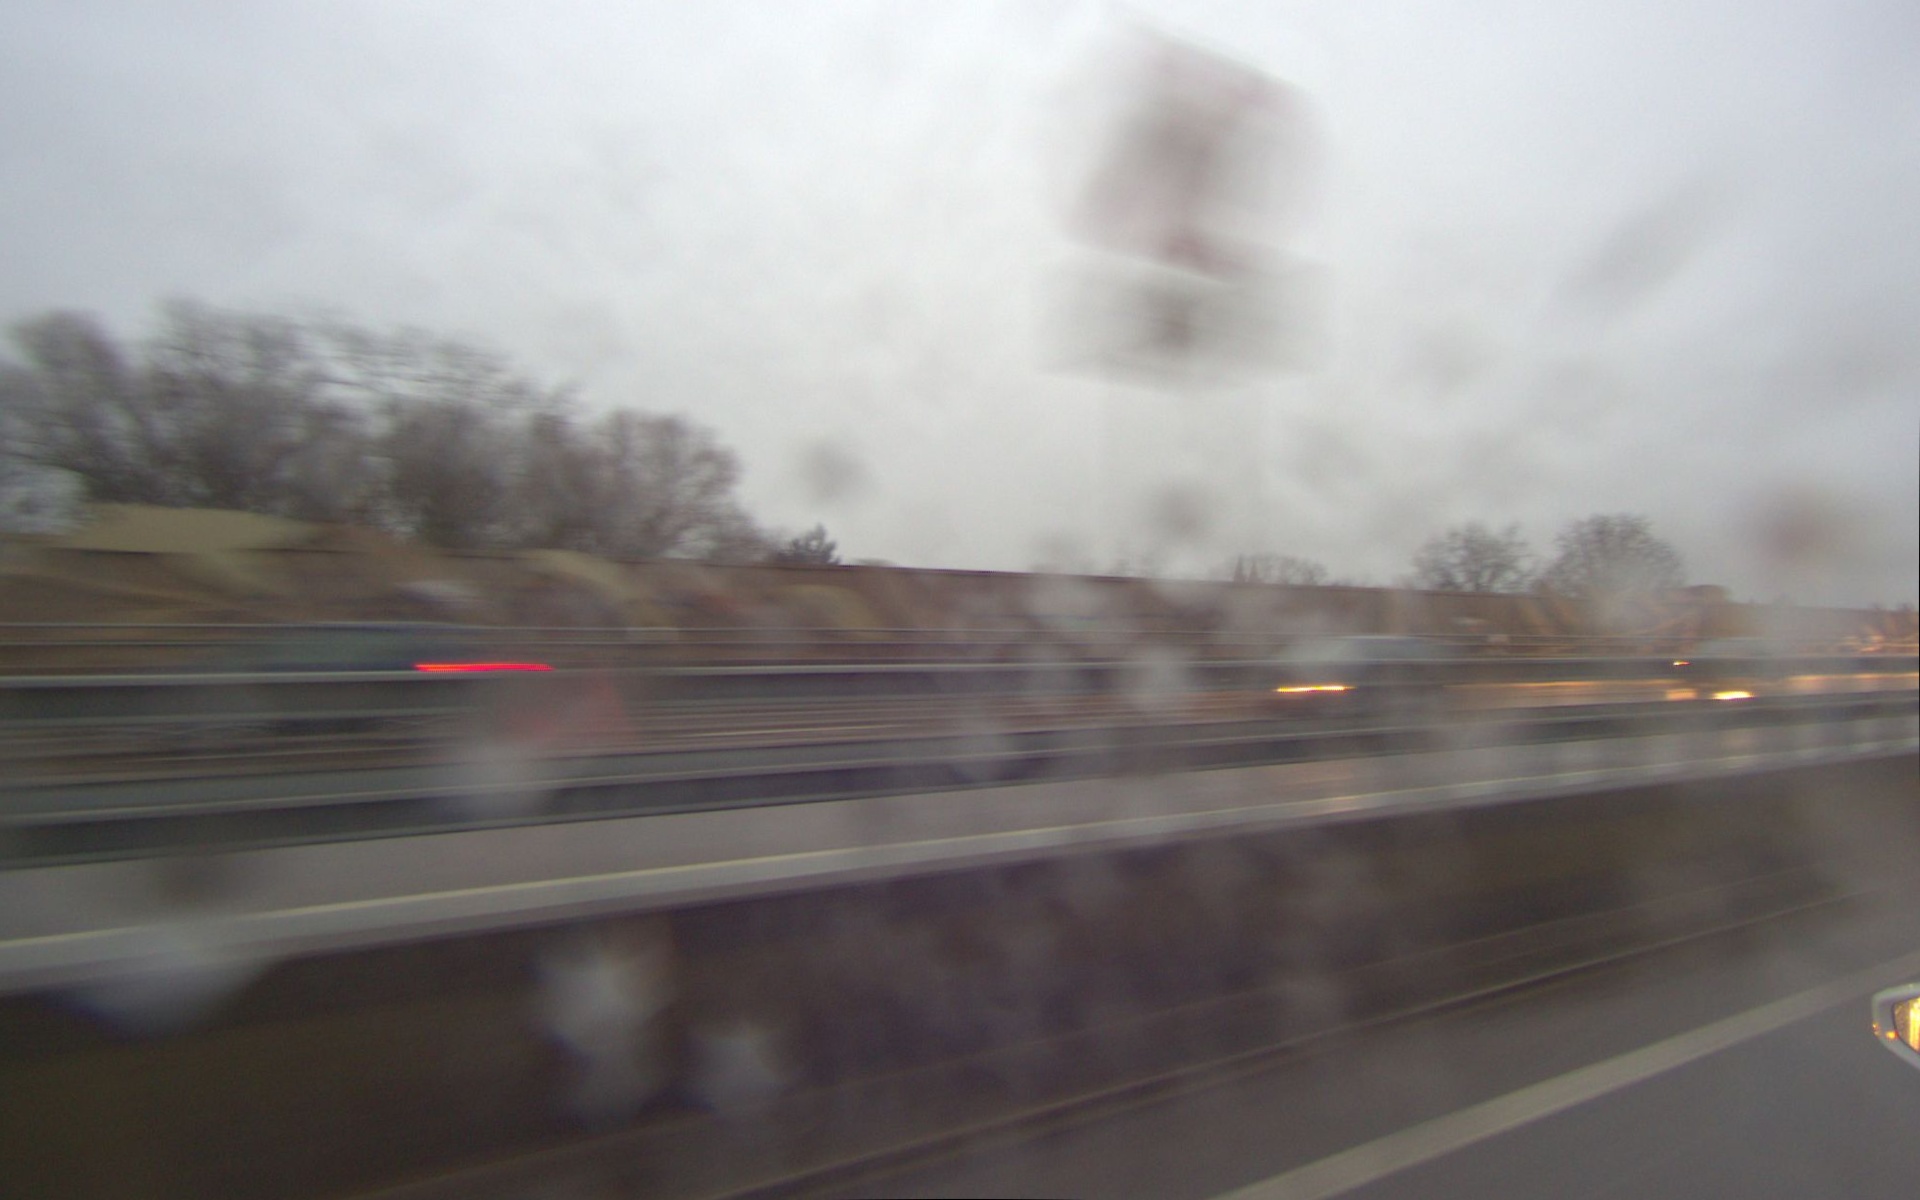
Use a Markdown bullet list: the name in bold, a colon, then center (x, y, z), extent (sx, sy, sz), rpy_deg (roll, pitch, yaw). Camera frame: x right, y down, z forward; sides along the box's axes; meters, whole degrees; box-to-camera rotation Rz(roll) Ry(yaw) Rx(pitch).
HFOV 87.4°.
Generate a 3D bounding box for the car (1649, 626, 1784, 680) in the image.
- **car**: center (22.568, 1.547, 29.934), extent (3.954, 1.484, 1.885), rpy_deg (1, -1, -31)

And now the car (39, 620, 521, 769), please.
- **car**: center (-7.720, 1.005, 11.950), extent (4.407, 1.484, 1.885), rpy_deg (1, -1, -30)

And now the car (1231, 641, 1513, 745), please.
- **car**: center (6.931, 1.447, 16.770), extent (4.773, 1.484, 1.885), rpy_deg (1, -1, -30)
